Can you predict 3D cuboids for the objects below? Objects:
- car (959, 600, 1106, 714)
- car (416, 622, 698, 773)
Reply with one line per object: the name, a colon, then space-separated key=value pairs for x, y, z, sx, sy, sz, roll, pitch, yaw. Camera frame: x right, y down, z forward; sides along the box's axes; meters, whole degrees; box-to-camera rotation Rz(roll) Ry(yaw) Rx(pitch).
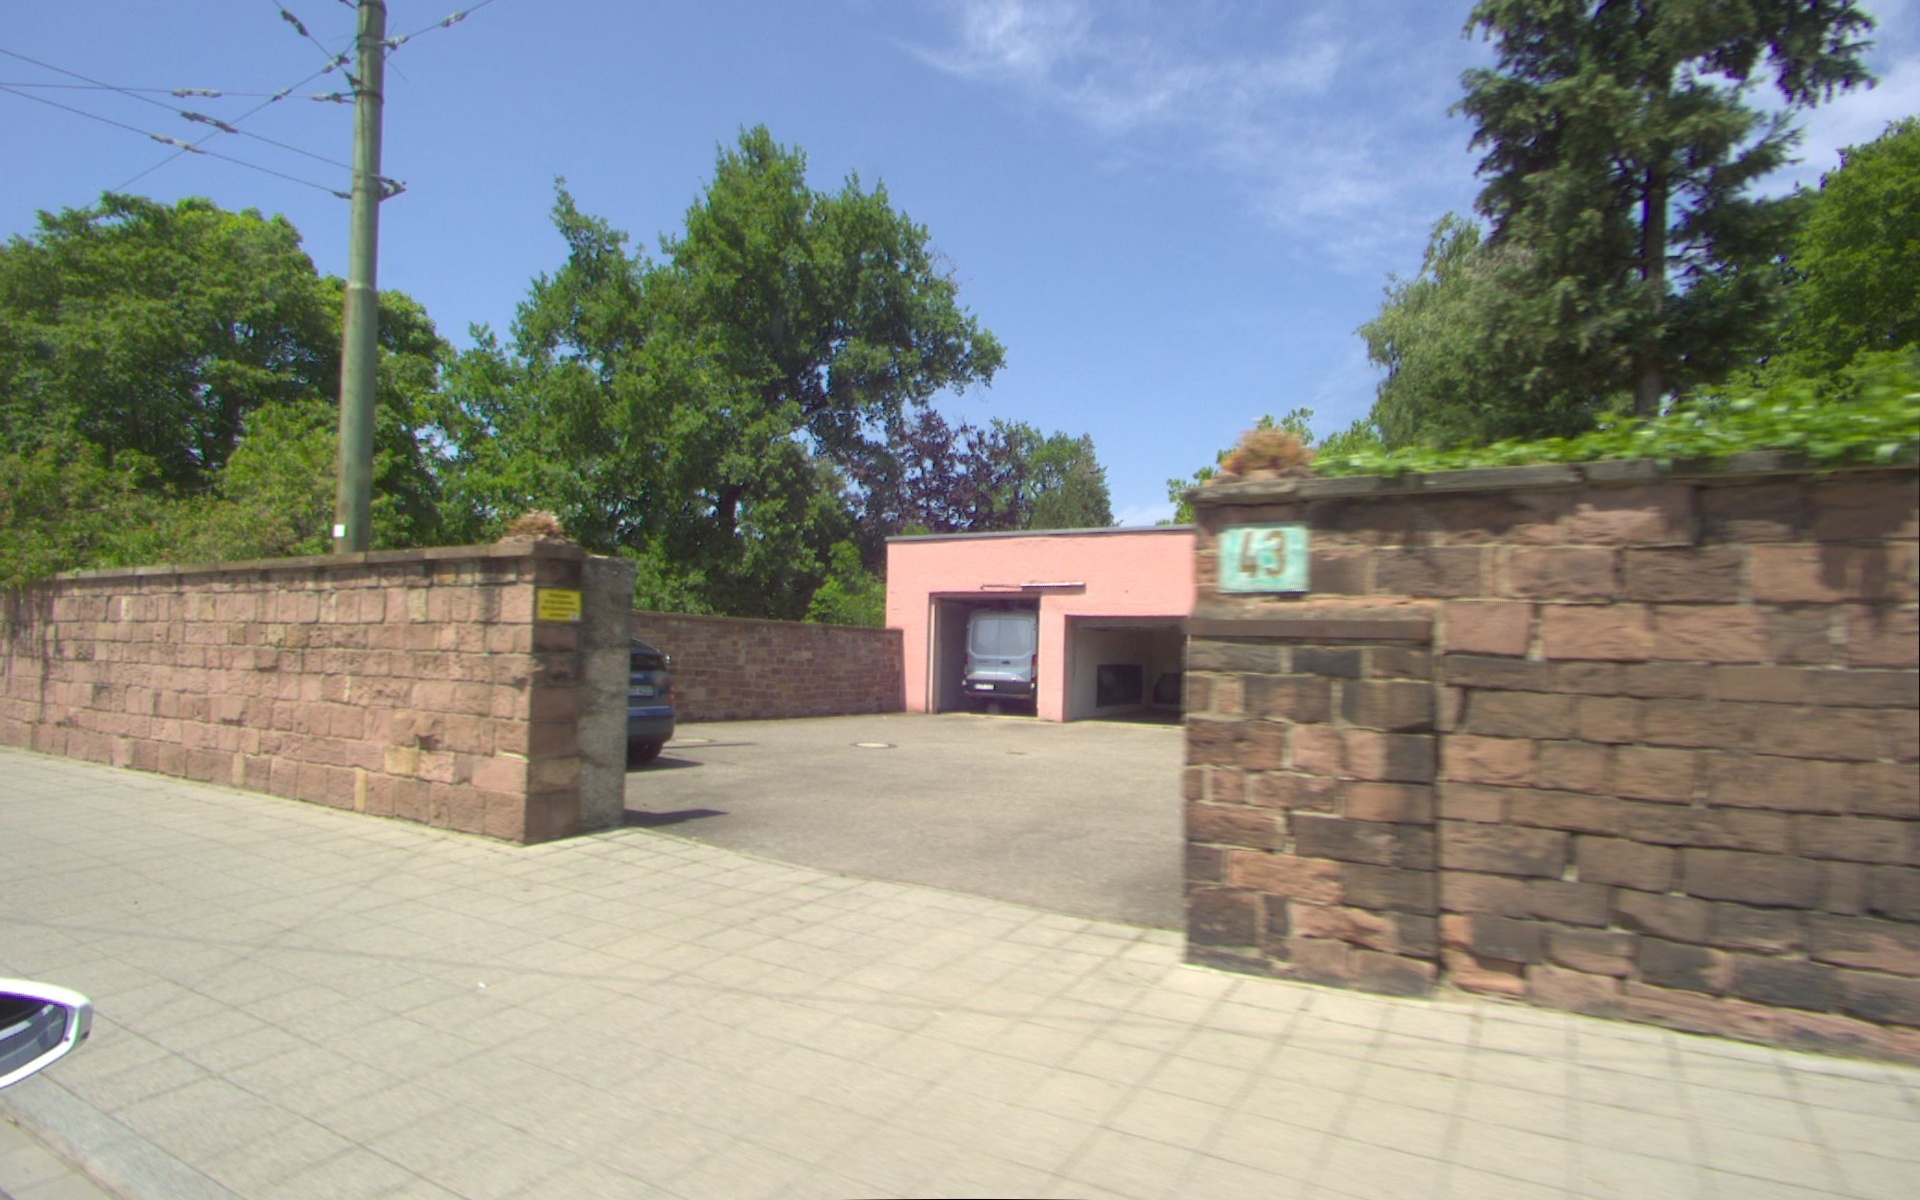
car: x=1.946 y=1.483 z=25.240 sx=1.969 sy=2.571 sz=4.641 roll=-1 pitch=-4 yaw=28
car: x=-4.632 y=1.046 z=11.489 sx=2.901 sy=1.500 sz=1.480 roll=0 pitch=-3 yaw=30
